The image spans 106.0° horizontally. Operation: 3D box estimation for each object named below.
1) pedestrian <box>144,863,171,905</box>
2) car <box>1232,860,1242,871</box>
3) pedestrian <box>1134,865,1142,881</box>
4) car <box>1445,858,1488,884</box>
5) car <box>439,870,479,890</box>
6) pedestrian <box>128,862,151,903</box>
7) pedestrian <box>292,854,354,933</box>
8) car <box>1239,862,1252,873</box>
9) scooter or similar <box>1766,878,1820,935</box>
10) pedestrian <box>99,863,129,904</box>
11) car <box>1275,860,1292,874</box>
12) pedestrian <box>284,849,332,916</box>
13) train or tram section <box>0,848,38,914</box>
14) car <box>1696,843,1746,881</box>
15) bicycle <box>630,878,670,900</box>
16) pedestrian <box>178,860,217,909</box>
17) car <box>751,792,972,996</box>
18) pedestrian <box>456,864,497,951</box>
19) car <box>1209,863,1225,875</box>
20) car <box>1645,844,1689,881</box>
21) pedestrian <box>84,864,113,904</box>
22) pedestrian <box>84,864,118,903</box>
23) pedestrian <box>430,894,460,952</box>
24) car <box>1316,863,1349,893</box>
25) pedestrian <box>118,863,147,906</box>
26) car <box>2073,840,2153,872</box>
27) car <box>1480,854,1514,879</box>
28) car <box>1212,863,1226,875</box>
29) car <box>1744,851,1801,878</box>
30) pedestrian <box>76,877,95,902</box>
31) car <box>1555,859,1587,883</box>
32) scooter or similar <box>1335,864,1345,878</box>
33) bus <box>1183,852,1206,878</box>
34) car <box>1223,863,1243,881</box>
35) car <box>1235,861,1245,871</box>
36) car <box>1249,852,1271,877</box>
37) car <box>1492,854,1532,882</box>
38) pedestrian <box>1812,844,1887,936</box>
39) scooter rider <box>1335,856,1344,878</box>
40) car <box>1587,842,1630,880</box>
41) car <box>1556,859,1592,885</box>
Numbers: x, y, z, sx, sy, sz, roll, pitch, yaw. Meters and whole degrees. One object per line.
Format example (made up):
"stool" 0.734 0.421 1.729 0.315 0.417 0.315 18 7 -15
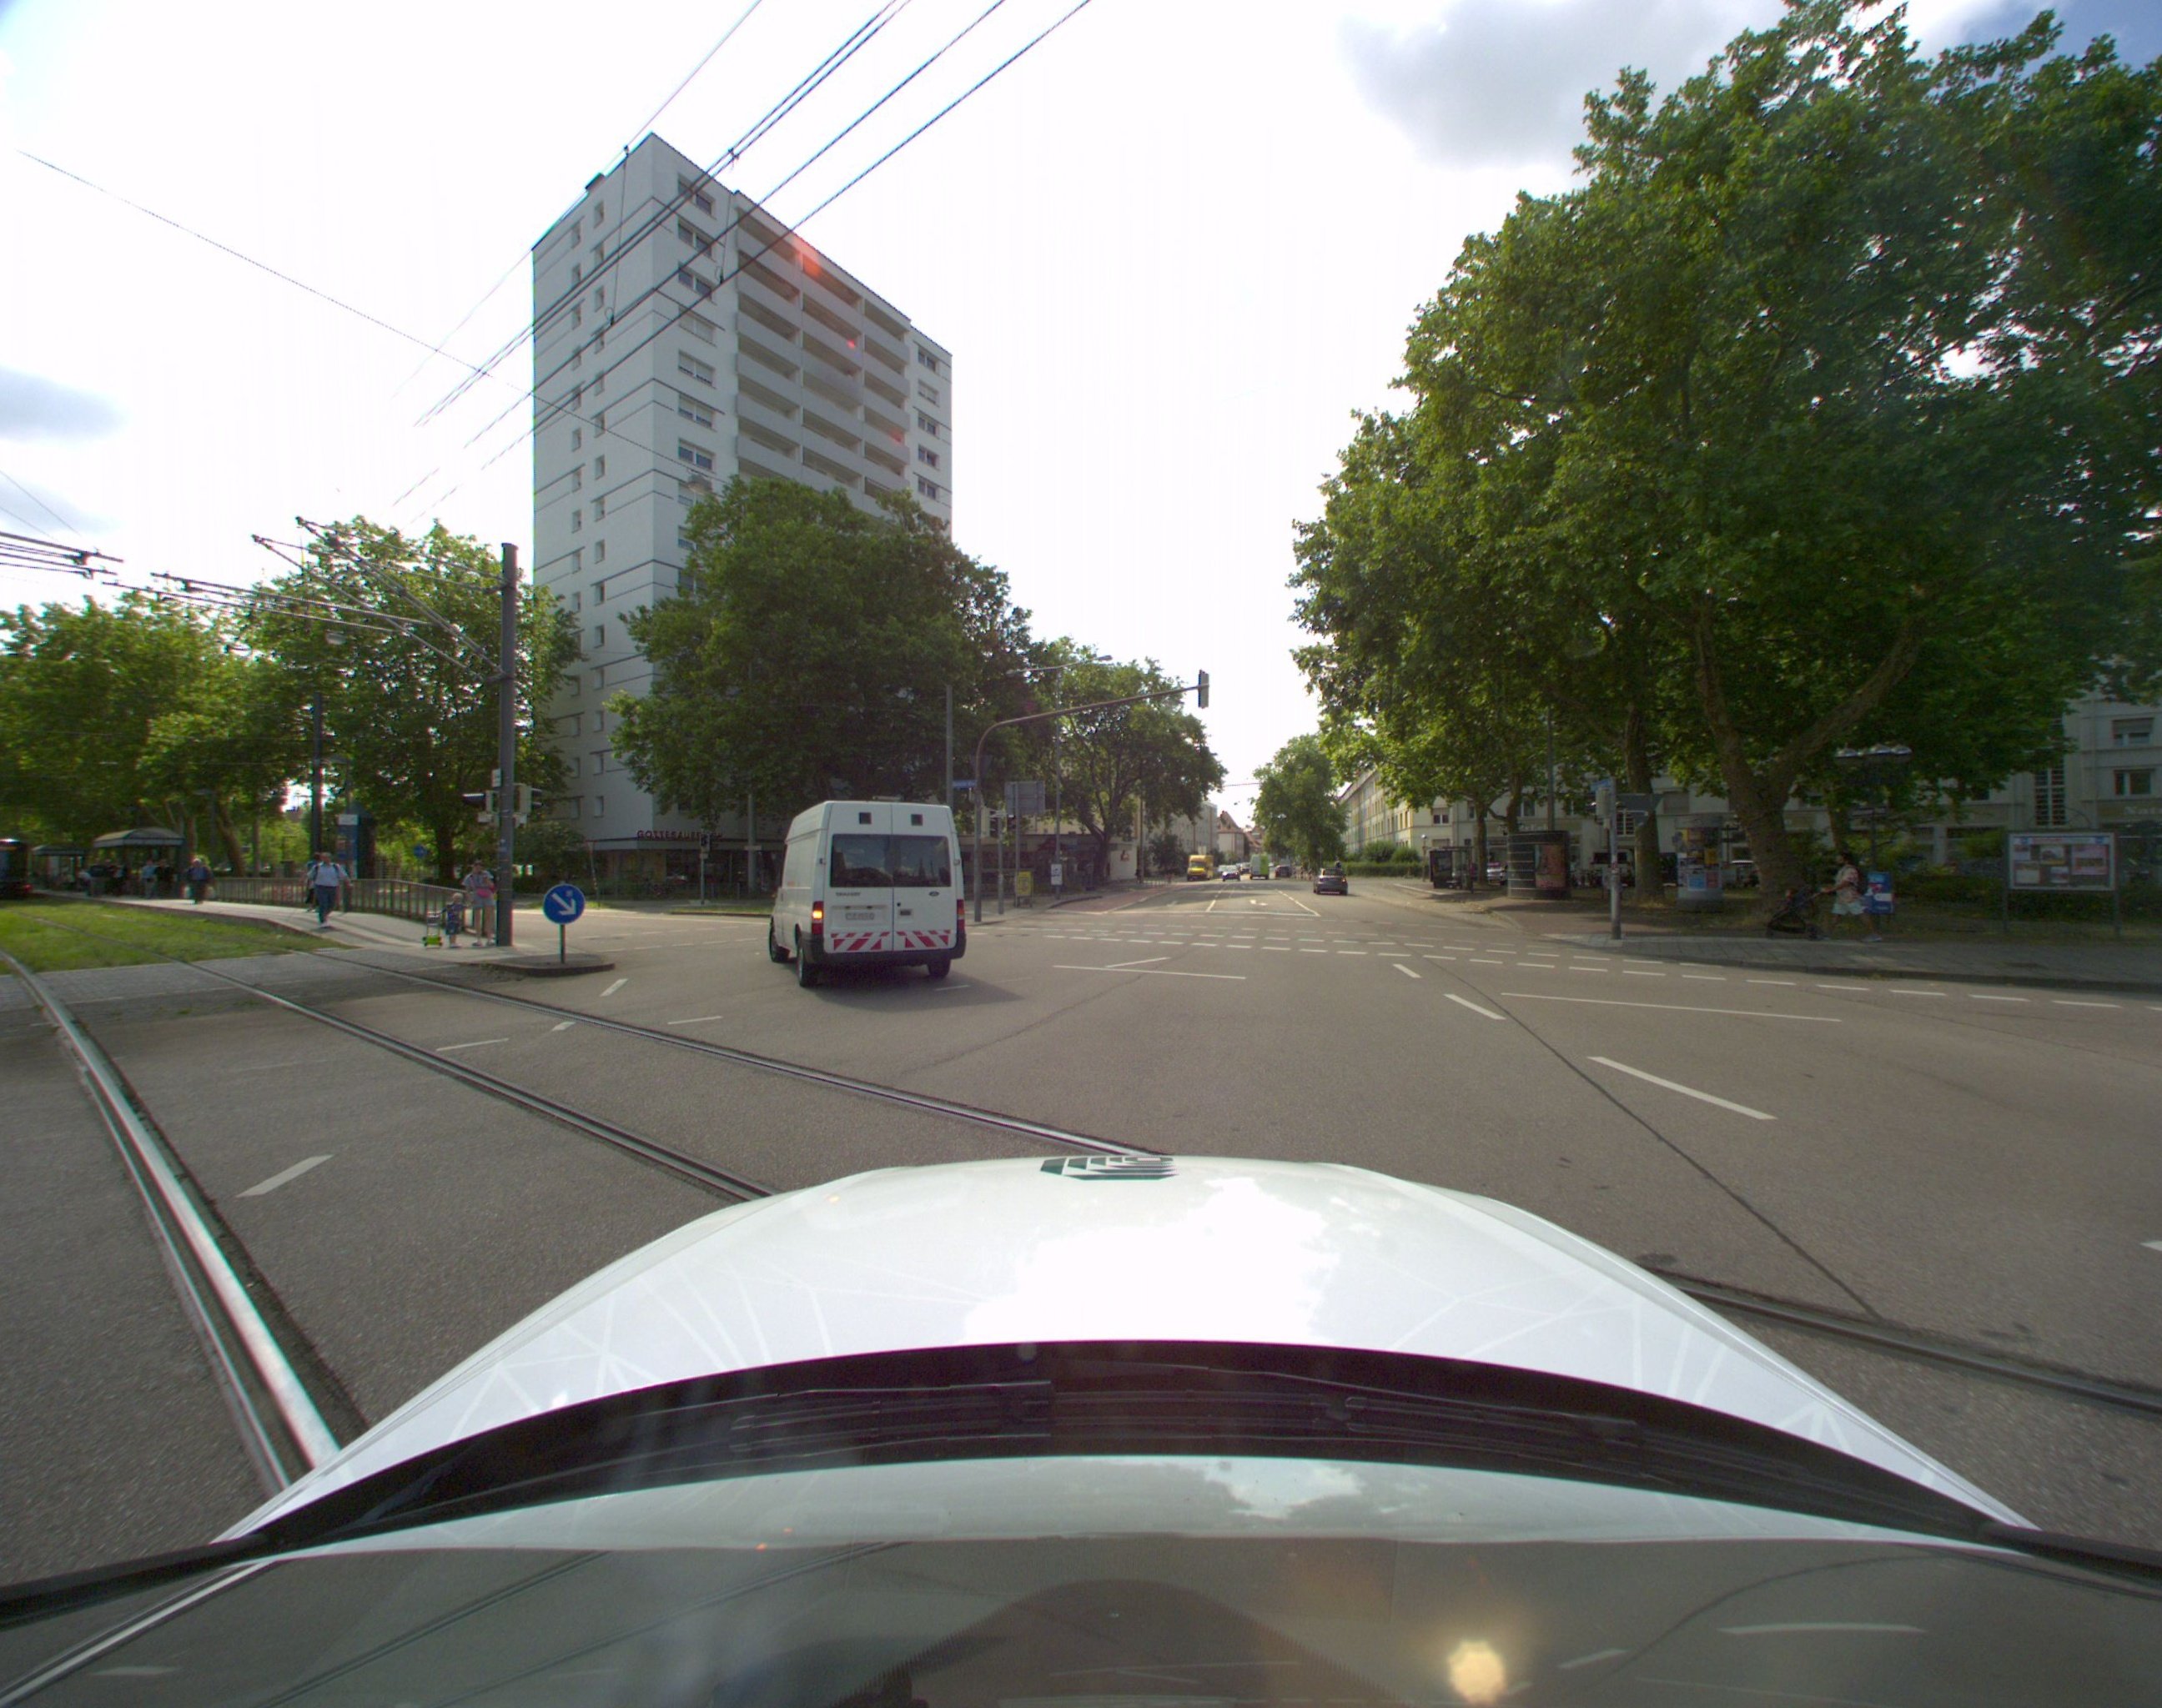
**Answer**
"pedestrian" -40.910 1.326 36.079 0.779 1.849 0.708 -2 -1 33
"car" 28.127 2.062 146.692 1.640 1.932 3.763 -1 0 14
"pedestrian" 5.392 1.793 77.251 0.663 1.479 0.578 -1 -1 19
"car" 25.661 1.119 54.115 2.008 1.600 4.567 -2 -1 33
"car" -58.368 2.466 76.423 4.282 1.815 1.824 -2 -1 36
"pedestrian" -43.989 1.314 38.059 0.532 1.900 0.473 -1 -1 10
"pedestrian" -17.725 0.910 19.043 1.031 1.780 0.856 -2 -1 35
"car" 26.210 2.112 129.679 1.848 1.661 3.763 -1 0 14
"scooter or similar" 13.618 0.992 15.591 0.699 1.056 0.494 -2 -1 36
"pedestrian" -45.298 1.369 38.150 1.017 1.873 0.818 -2 -1 33
"car" 23.707 1.539 95.444 1.713 1.554 3.645 -1 -1 12
"pedestrian" -22.349 0.814 23.546 0.835 1.899 0.835 -2 -1 34
"train or tram section" -64.168 1.604 47.820 12.846 3.584 2.750 -2 -1 34
"car" 36.281 0.452 46.271 1.974 2.076 4.025 -2 -1 35
"bicycle" -21.344 1.723 40.324 1.733 1.009 0.529 -1 -1 -29
"pedestrian" -32.708 1.129 30.158 0.865 1.775 0.866 -2 -1 34
"car" -3.408 0.480 11.872 2.059 2.333 4.670 -1 -1 -29
"pedestrian" -12.051 1.041 16.248 0.628 1.666 0.668 0 -1 -37
"car" 18.134 1.952 108.493 1.833 1.562 4.014 -1 -1 13
"car" 34.472 0.516 47.958 1.974 2.076 4.025 -2 -1 35
"pedestrian" -44.902 1.351 37.224 1.118 1.801 0.718 -2 -1 33
"pedestrian" -46.731 1.409 38.826 1.475 1.801 0.895 -2 -1 33
"pedestrian" -12.209 1.319 15.632 0.422 1.063 0.432 -1 -1 -35
"car" 14.214 1.326 46.151 1.679 1.538 3.482 -1 0 15
"pedestrian" -41.397 1.329 35.535 0.896 1.849 0.708 -2 -1 33
"car" 57.188 0.117 45.215 1.722 1.637 4.025 -2 -1 36
"car" 32.176 0.926 62.871 1.887 1.796 4.750 -2 -1 32
"car" 20.655 2.259 121.966 1.716 1.661 3.763 -1 0 14
"car" 38.233 0.574 45.121 1.974 1.422 4.025 -2 -1 35
"pedestrian" -61.308 2.162 50.159 0.588 1.515 0.682 -2 -1 33
"car" 30.219 1.037 50.265 1.451 1.389 3.255 -1 -1 28
"scooter or similar" 20.832 1.402 65.582 0.545 1.091 1.295 -1 0 10
"bus" 12.850 1.235 91.892 2.380 2.709 6.386 -1 -1 9
"car" 15.448 1.802 82.813 1.774 1.661 4.331 -1 0 13
"car" 30.235 2.260 154.624 1.648 1.661 3.763 -1 0 14
"car" 19.399 1.111 88.369 2.105 2.641 6.348 -1 0 12
"car" 27.865 0.860 52.570 1.887 1.690 4.567 -2 -1 33
"pedestrian" 14.230 0.649 15.105 0.911 1.646 0.574 -2 -1 36
"scooter rider" 20.818 1.036 65.597 0.523 1.812 0.651 -1 -1 10
"car" 31.860 0.443 49.183 1.974 2.183 4.284 -2 -1 35
"car" 28.250 1.003 46.689 1.452 1.389 3.085 -1 -1 26
